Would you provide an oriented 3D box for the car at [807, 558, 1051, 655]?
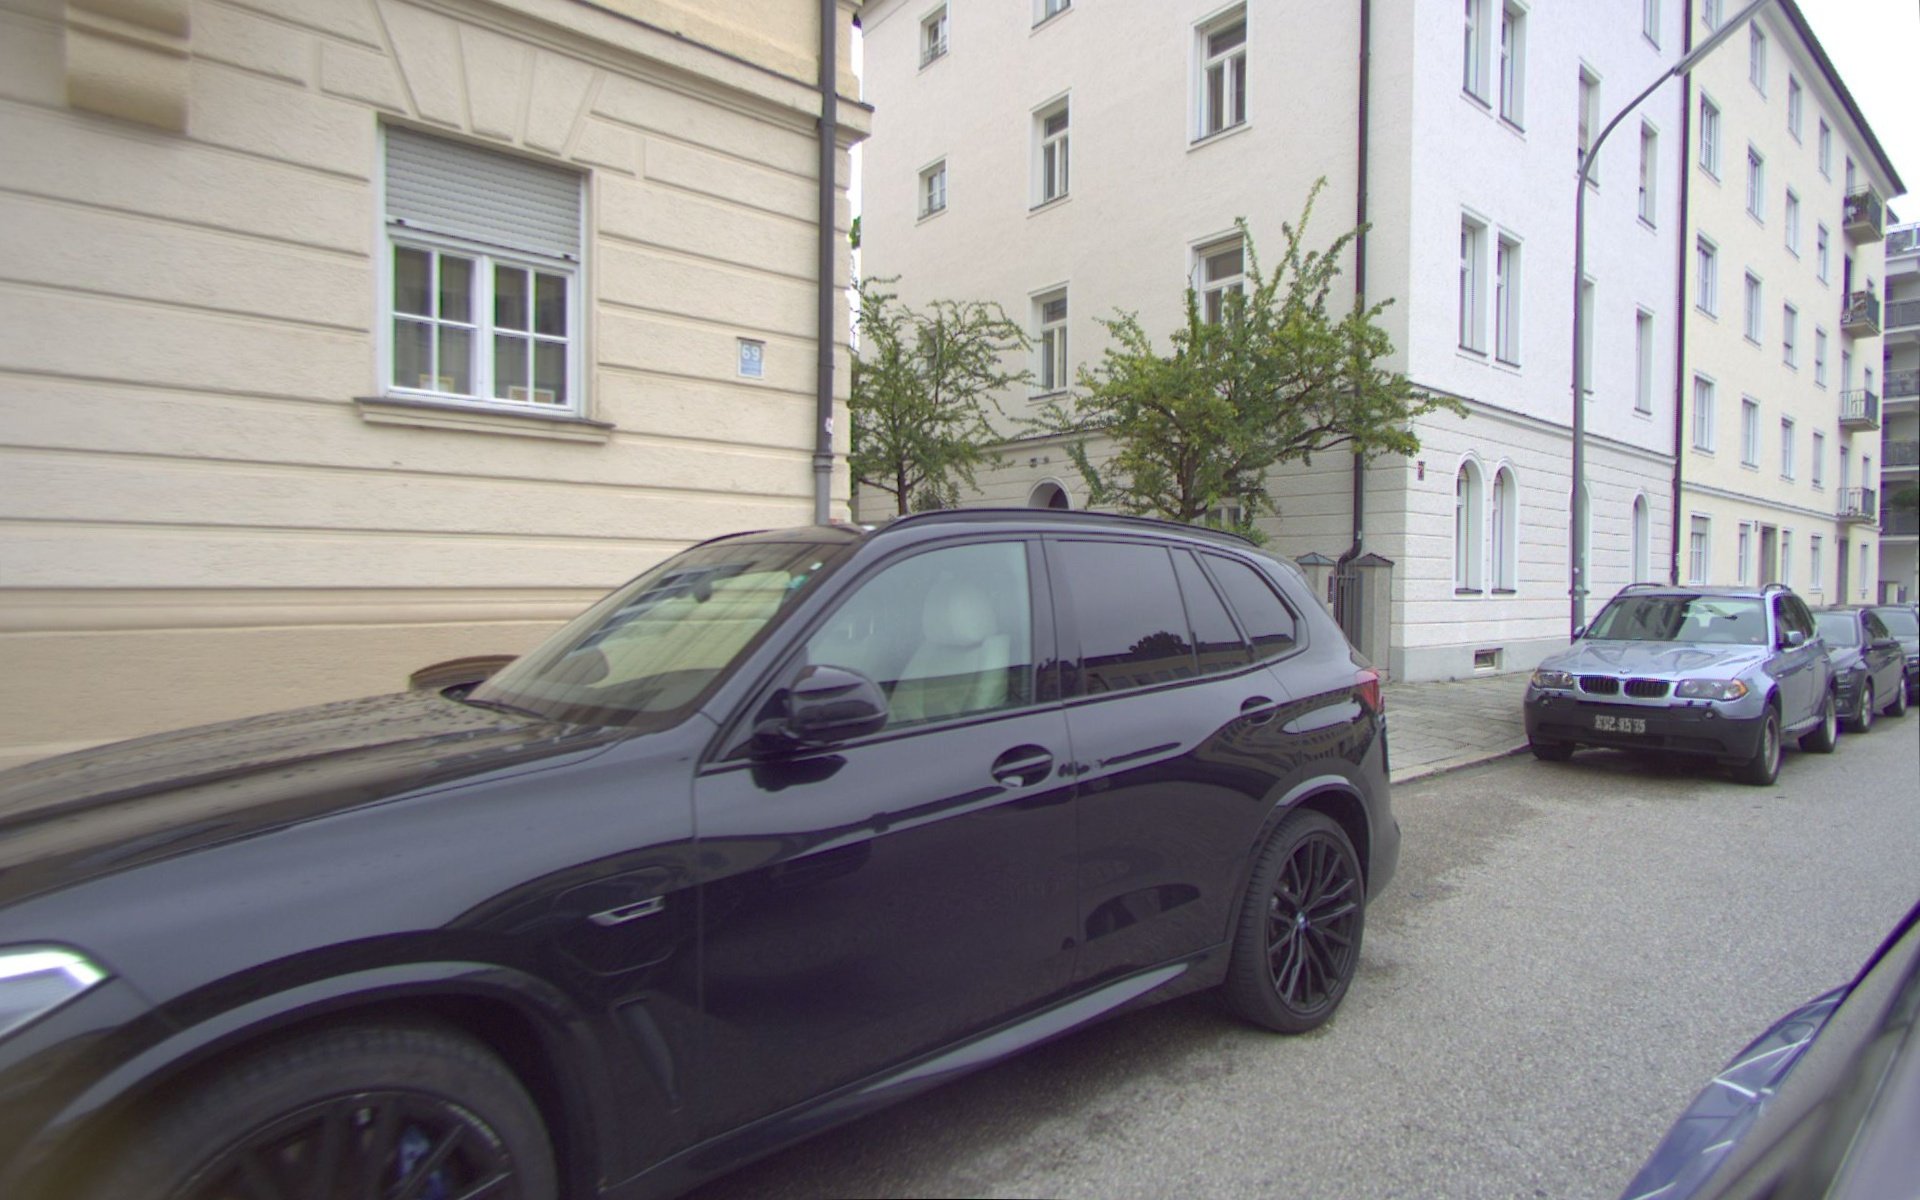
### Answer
[{"bbox_3d":[-0.460,0.047,17.407,3.931,1.476,1.861,-2,1,-41],"label":"car"}]

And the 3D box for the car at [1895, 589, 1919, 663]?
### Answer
[{"bbox_3d":[22.265,0.557,22.633,3.925,1.563,1.653,0,0,-42],"label":"car"}]

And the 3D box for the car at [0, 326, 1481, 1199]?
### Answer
[{"bbox_3d":[-0.428,0.512,3.438,4.934,1.761,2.174,0,0,-40],"label":"car"}]

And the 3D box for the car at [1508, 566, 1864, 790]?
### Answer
[{"bbox_3d":[7.140,0.556,9.770,4.420,1.684,1.849,0,1,-41],"label":"car"}]

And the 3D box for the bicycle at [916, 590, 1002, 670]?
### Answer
[{"bbox_3d":[-0.029,0.410,14.729,0.721,1.074,1.177,0,1,-33],"label":"bicycle"}]

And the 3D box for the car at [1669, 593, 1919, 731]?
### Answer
[{"bbox_3d":[10.642,0.653,12.748,4.011,1.468,1.831,0,0,-40],"label":"car"}]

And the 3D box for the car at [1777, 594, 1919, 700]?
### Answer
[{"bbox_3d":[14.762,0.654,16.155,4.595,1.468,1.879,0,0,-40],"label":"car"}]

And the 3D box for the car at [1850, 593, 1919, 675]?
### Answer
[{"bbox_3d":[18.546,0.603,19.410,4.115,1.468,1.727,0,0,-41],"label":"car"}]
